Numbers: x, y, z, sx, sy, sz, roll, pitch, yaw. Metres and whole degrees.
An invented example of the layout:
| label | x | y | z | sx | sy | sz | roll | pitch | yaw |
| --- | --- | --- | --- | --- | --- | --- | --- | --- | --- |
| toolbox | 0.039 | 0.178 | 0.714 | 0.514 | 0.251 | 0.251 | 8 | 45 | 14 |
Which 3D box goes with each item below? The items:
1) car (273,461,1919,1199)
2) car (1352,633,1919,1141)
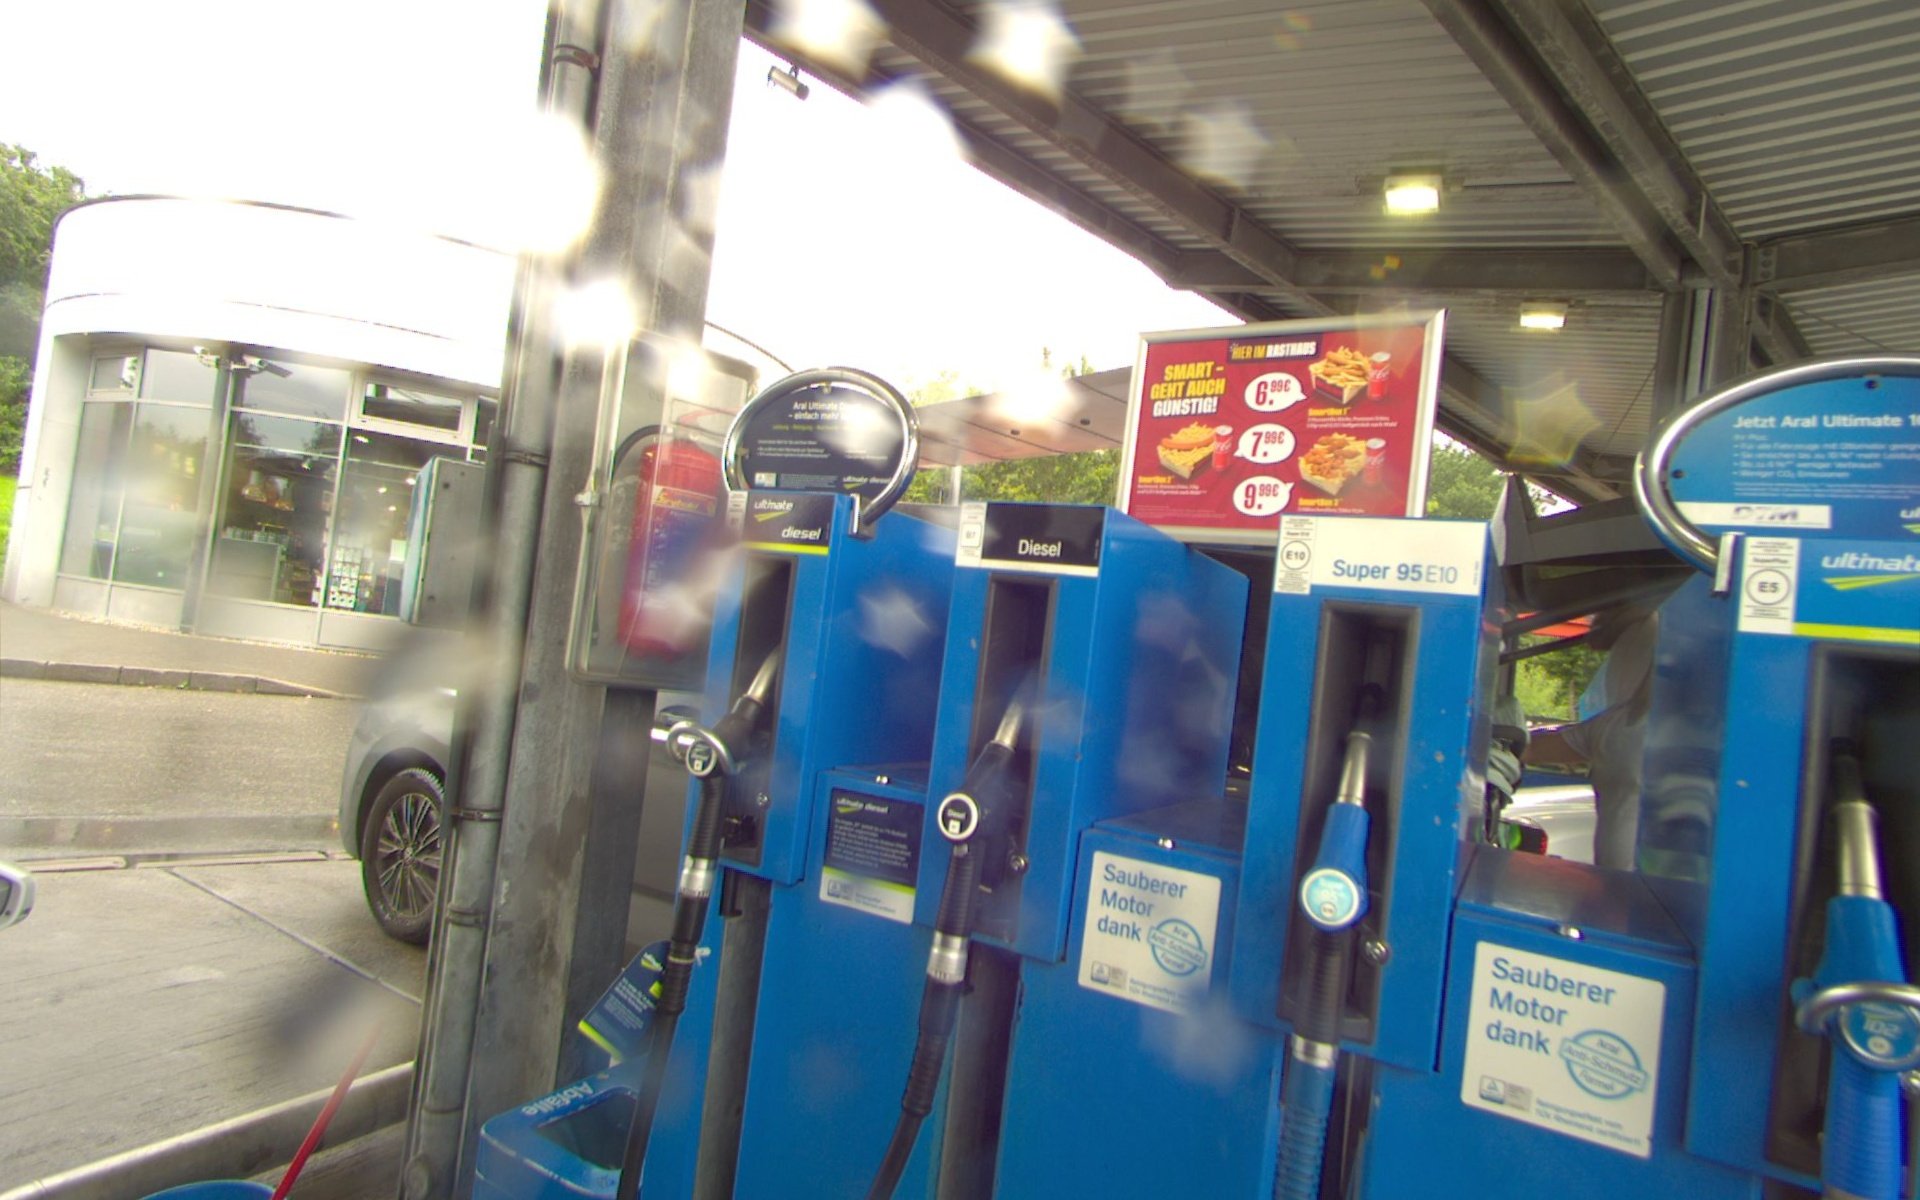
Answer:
| label | x | y | z | sx | sy | sz | roll | pitch | yaw |
| --- | --- | --- | --- | --- | --- | --- | --- | --- | --- |
| car | -0.147 | 0.645 | 3.675 | 5.055 | 1.819 | 1.865 | 6 | -2 | 32 |
| car | 4.489 | 1.371 | 4.818 | 4.464 | 1.819 | 1.865 | 6 | -2 | 32 |
